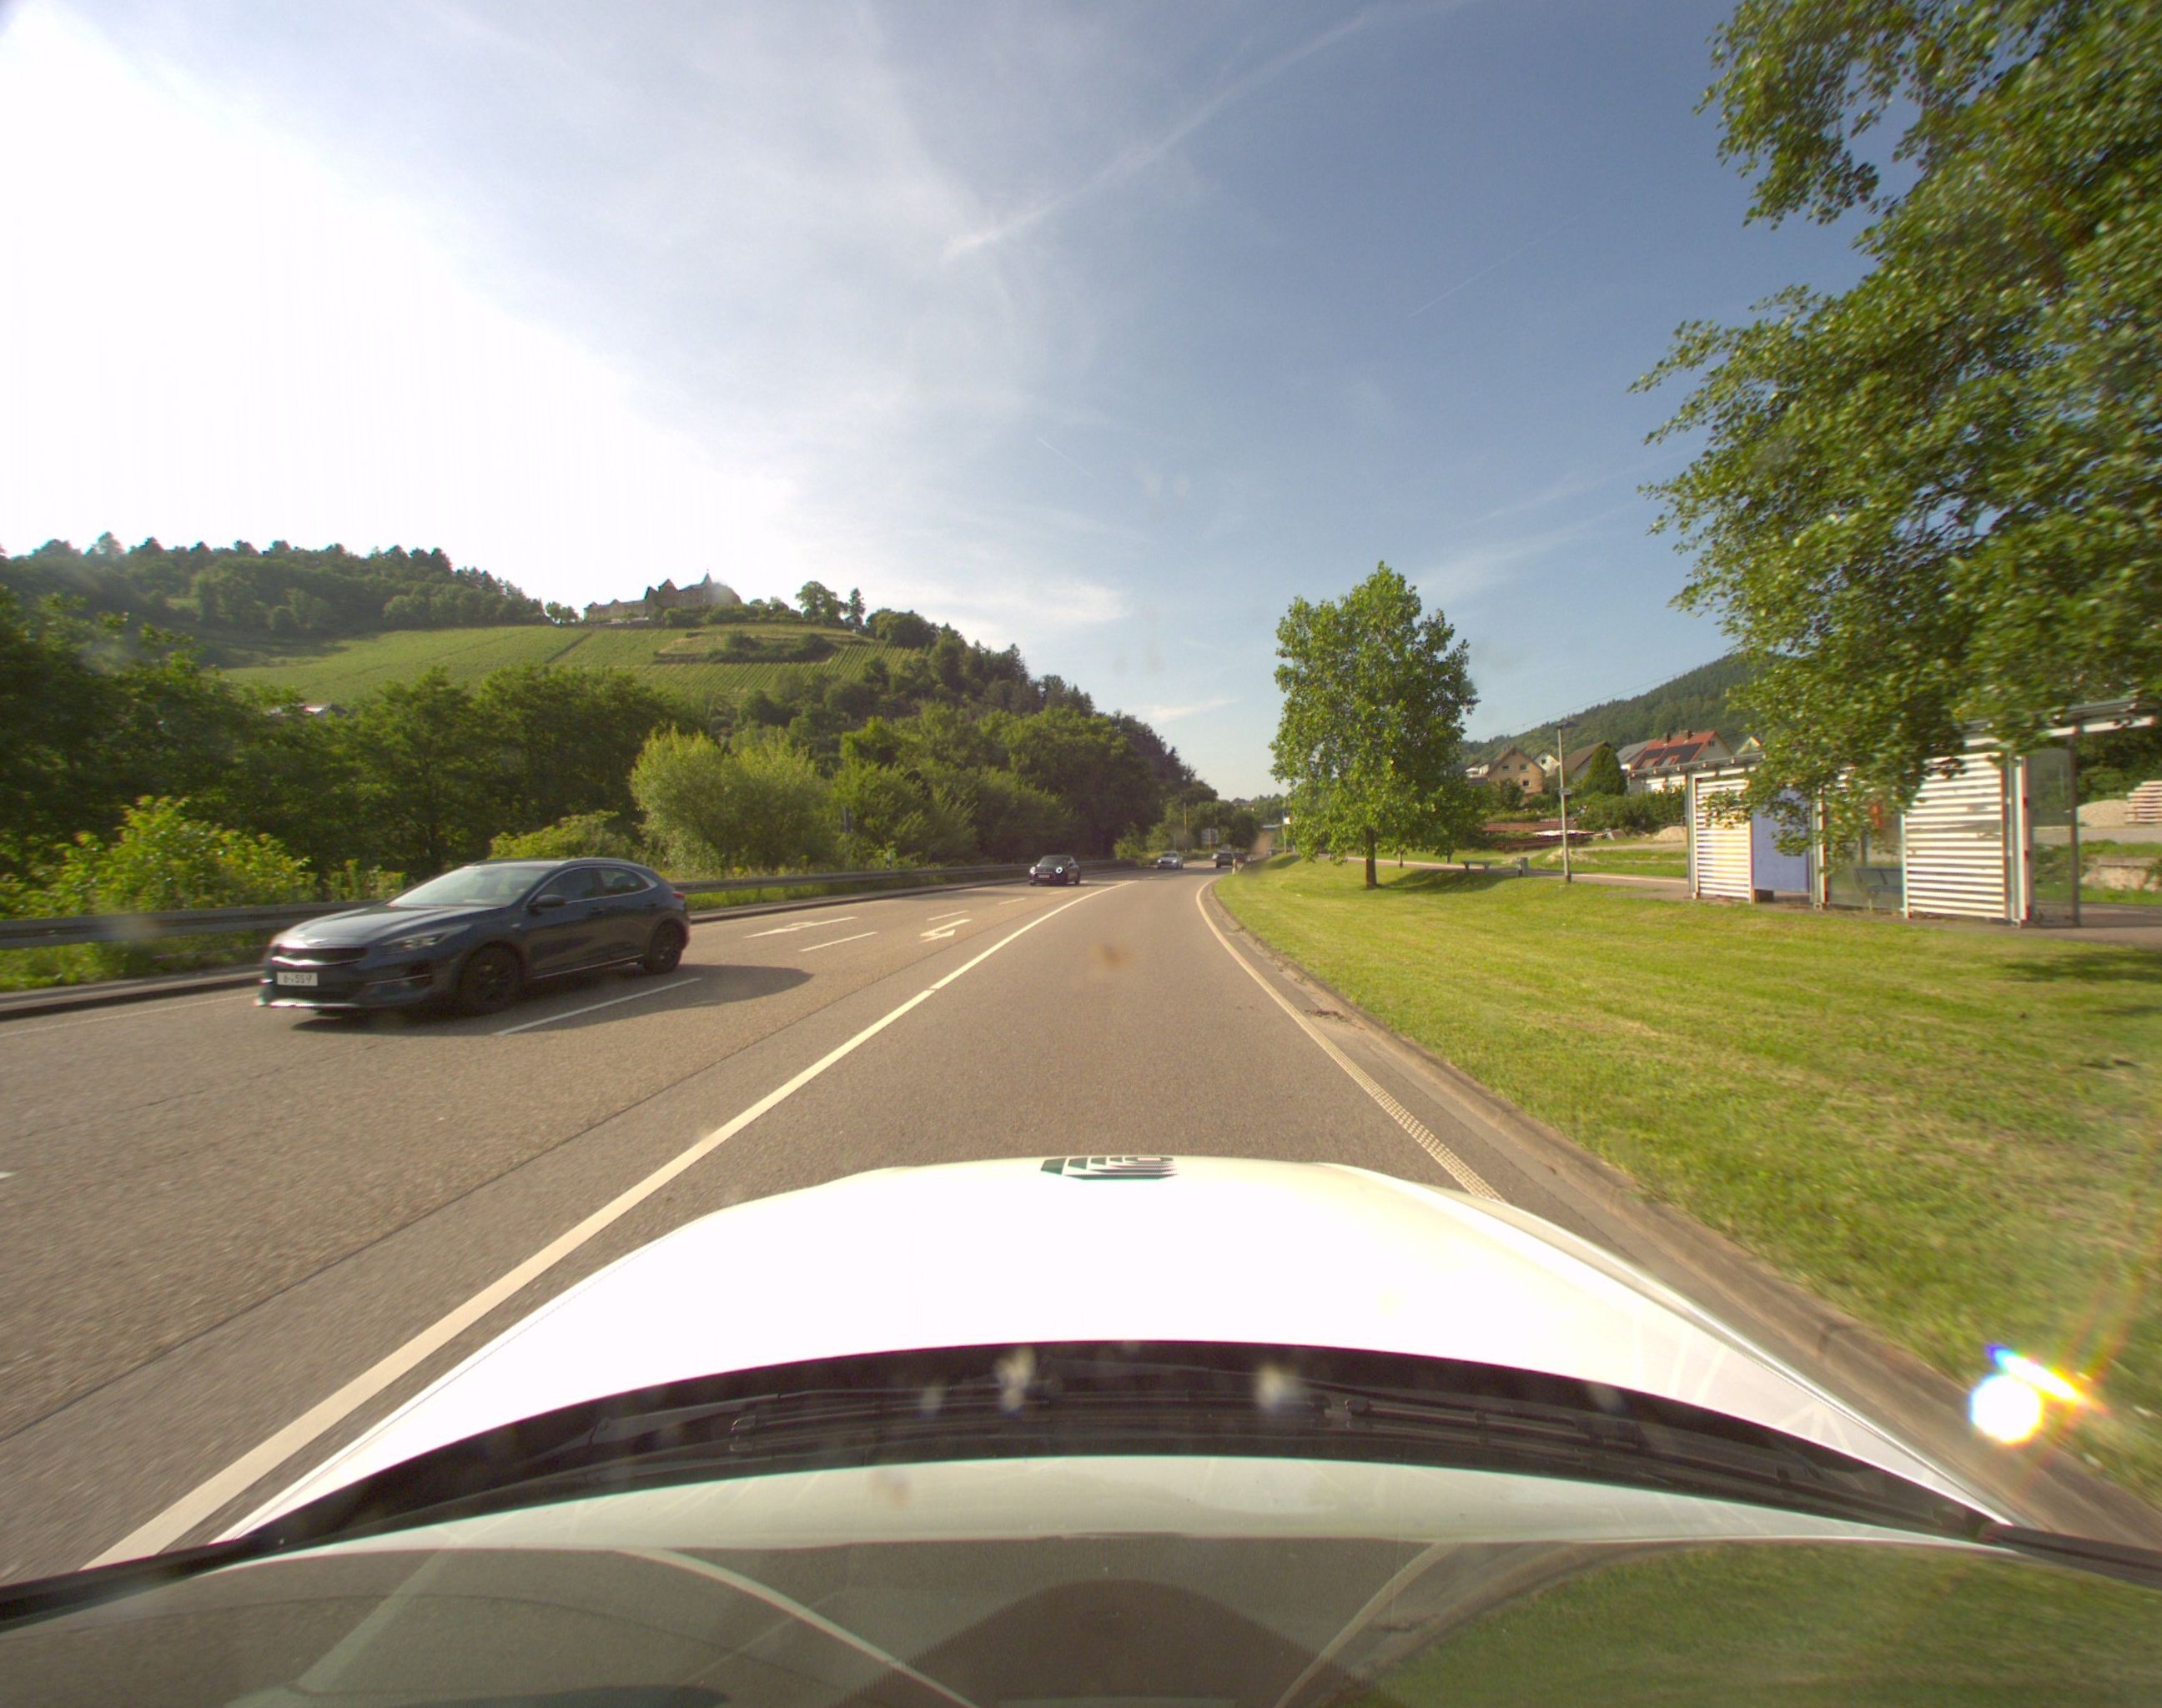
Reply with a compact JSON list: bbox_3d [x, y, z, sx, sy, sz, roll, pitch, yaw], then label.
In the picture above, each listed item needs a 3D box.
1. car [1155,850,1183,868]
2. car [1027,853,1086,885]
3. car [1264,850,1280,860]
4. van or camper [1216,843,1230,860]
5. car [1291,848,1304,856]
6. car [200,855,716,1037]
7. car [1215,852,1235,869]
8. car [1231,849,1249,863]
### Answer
[{"bbox_3d":[7.929,0.402,72.847,1.931,1.486,4.602,0,1,13],"label":"car"},{"bbox_3d":[-1.094,0.688,38.420,1.682,1.402,4.217,-1,0,14],"label":"car"},{"bbox_3d":[30.390,0.156,129.590,1.791,1.453,3.667,-3,0,22],"label":"car"},{"bbox_3d":[20.004,-0.429,114.874,1.591,2.328,4.075,1,1,14],"label":"van or camper"},{"bbox_3d":[40.289,-0.388,151.364,1.792,1.408,3.794,-3,0,23],"label":"car"},{"bbox_3d":[-6.271,0.761,9.085,1.840,1.469,4.553,0,0,8],"label":"car"},{"bbox_3d":[13.475,0.617,76.187,1.717,1.457,3.421,-3,0,11],"label":"car"},{"bbox_3d":[18.777,0.222,96.086,1.827,1.459,3.727,-3,0,14],"label":"car"}]
